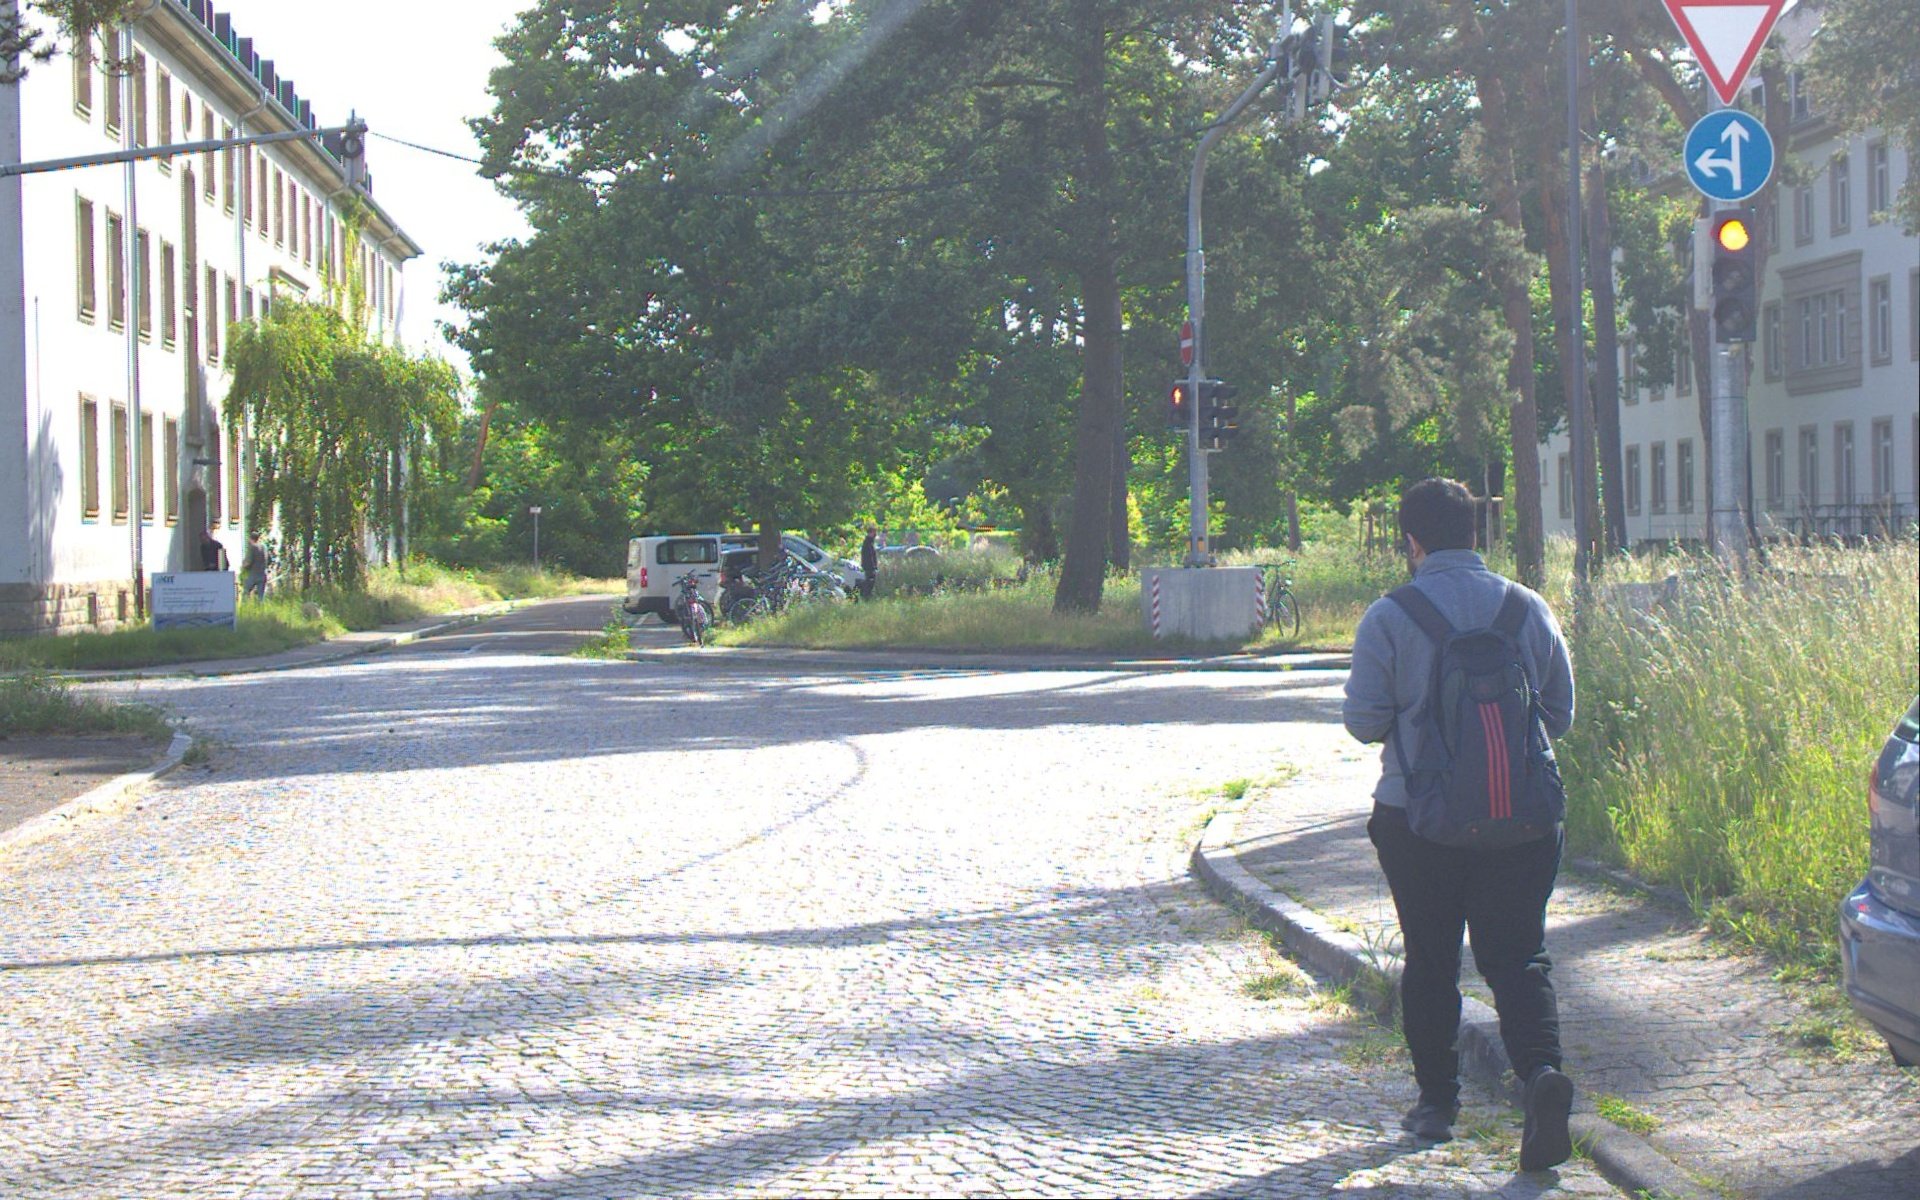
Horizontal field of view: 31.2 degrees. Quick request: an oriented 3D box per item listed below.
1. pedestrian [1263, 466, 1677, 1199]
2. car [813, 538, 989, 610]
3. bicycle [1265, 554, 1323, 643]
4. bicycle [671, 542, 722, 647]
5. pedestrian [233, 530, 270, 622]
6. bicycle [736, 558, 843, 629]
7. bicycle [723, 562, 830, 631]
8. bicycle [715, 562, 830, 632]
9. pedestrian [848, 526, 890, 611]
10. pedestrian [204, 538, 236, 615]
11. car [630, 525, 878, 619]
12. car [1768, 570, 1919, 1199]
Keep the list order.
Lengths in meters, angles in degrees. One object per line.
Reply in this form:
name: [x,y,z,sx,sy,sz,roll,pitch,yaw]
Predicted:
pedestrian: [1.260,0.555,8.656,0.753,1.719,0.829,4,1,-4]
car: [-1.355,-0.598,78.453,3.743,1.574,1.742,-1,1,-11]
bicycle: [4.376,-0.033,45.084,0.722,1.111,2.583,-1,1,6]
bicycle: [-4.092,-0.102,53.227,0.753,1.575,2.537,-1,1,-5]
pedestrian: [-13.685,-0.469,66.384,0.606,1.746,0.630,-1,1,-17]
bicycle: [-2.867,-0.112,57.777,1.727,1.160,0.561,-1,1,-7]
bicycle: [-3.053,-0.061,57.083,1.727,1.108,0.484,-1,1,-7]
bicycle: [-3.082,-0.051,56.536,1.834,1.108,0.495,-1,1,-7]
pedestrian: [-1.925,-0.665,72.710,0.759,1.777,0.684,-1,1,-11]
pedestrian: [-15.024,-0.481,69.834,0.606,1.554,0.545,-1,1,-10]
car: [-4.477,-0.624,74.408,5.065,1.911,2.001,-1,1,-13]
car: [3.946,0.593,7.933,3.673,1.438,1.665,-3,1,-4]
